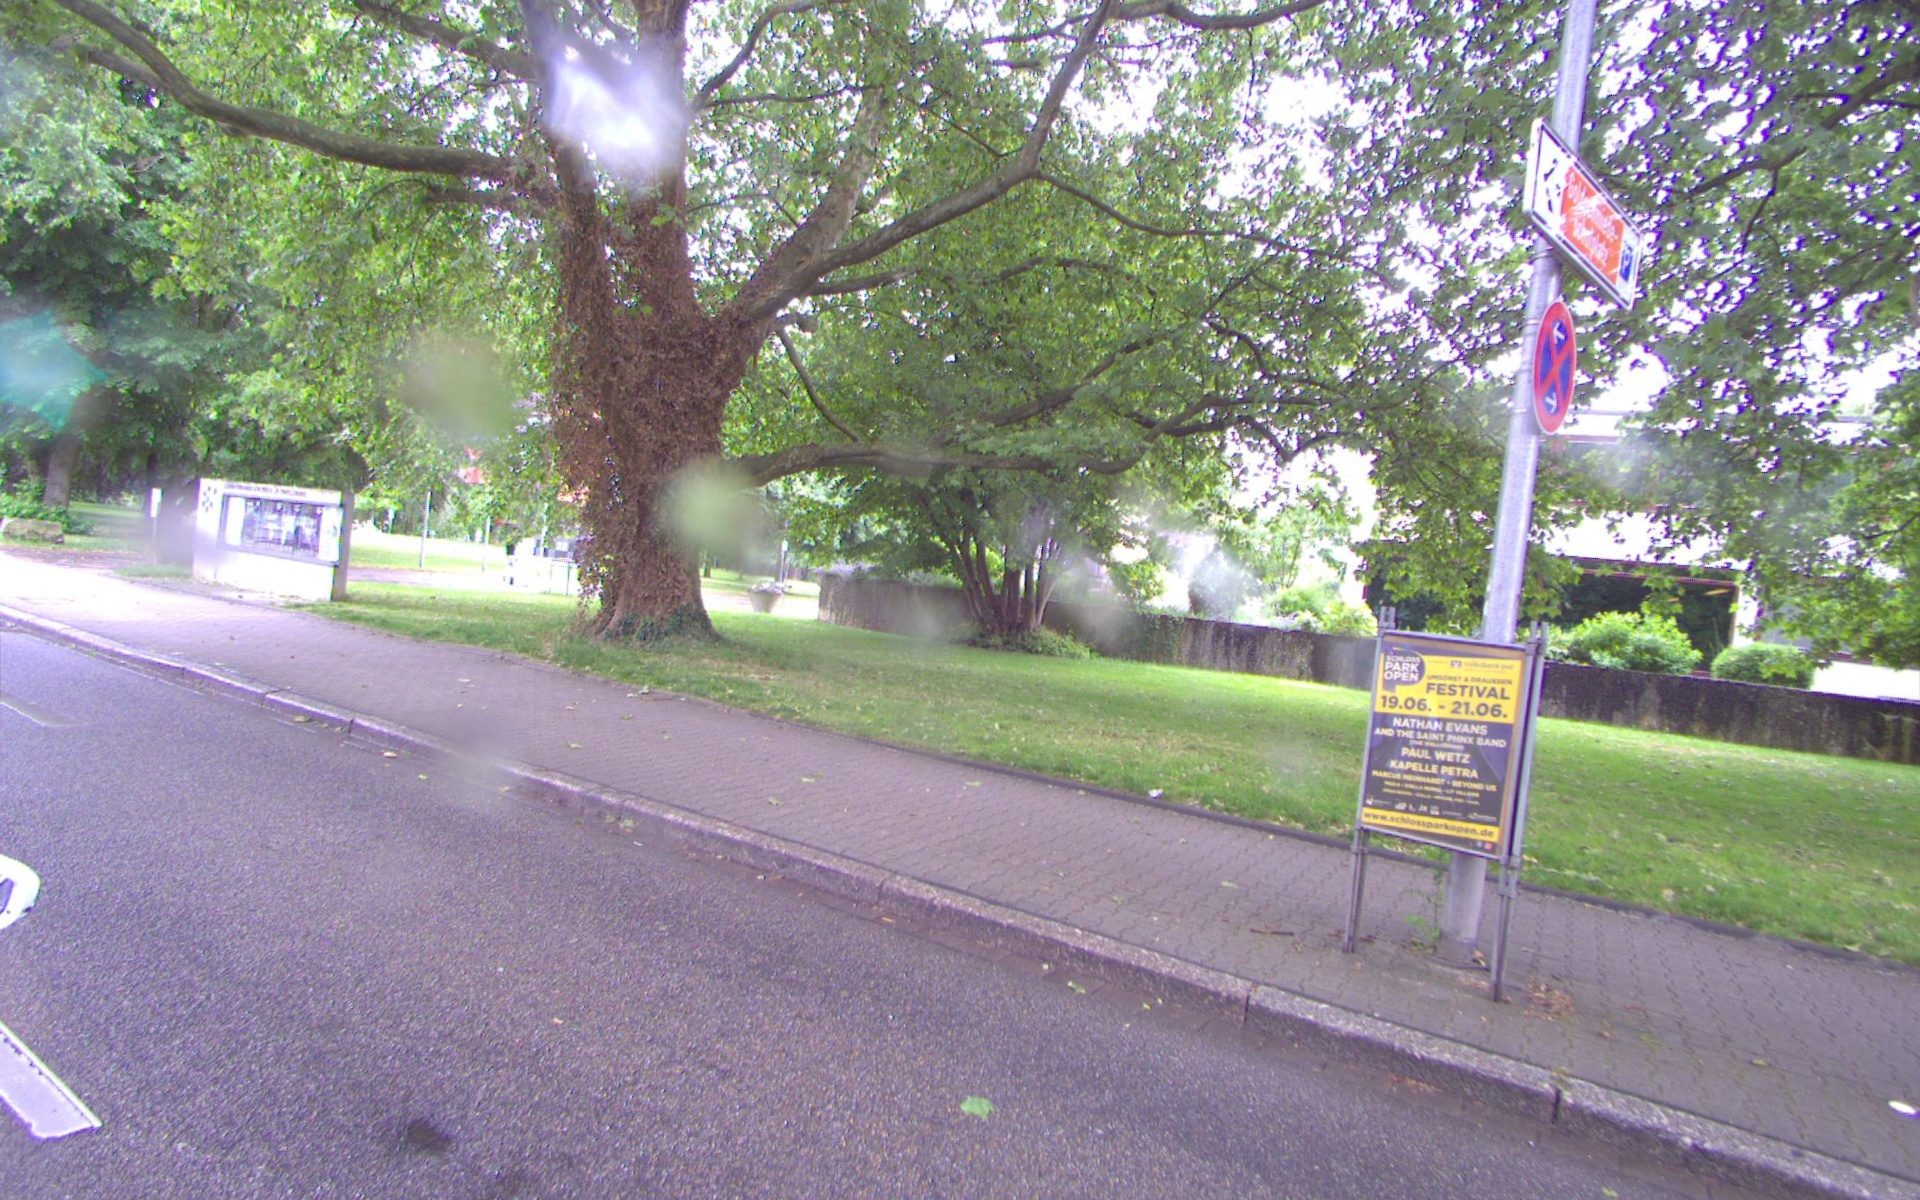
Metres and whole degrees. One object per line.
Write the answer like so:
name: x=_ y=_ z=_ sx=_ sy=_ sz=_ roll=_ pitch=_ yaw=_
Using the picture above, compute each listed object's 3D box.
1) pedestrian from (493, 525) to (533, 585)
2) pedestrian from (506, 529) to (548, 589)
pedestrian: x=-14.254 y=-1.419 z=32.081 sx=0.711 sy=1.776 sz=0.666 roll=7 pitch=-1 yaw=23
pedestrian: x=-13.510 y=-1.265 z=31.369 sx=0.776 sy=1.732 sz=0.666 roll=7 pitch=-1 yaw=23
